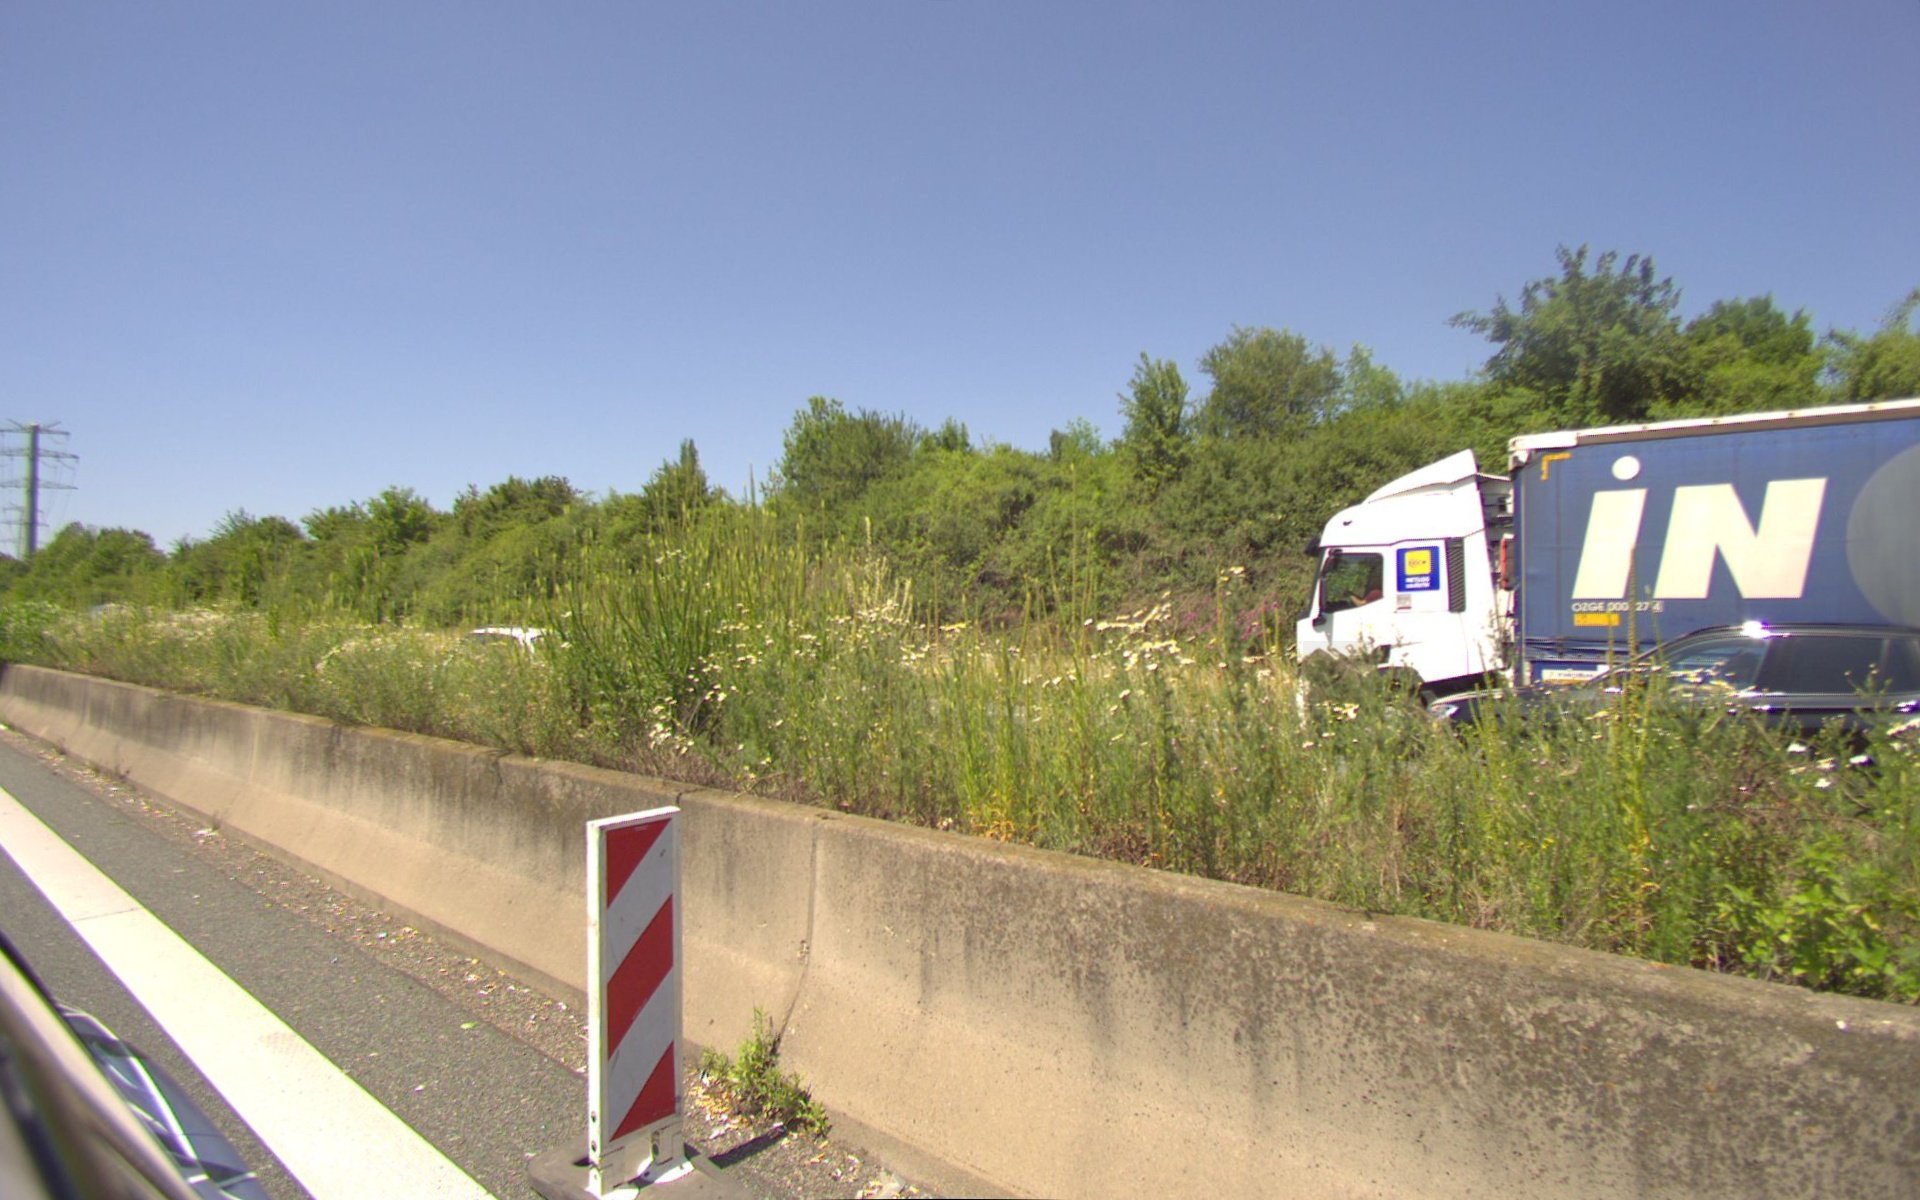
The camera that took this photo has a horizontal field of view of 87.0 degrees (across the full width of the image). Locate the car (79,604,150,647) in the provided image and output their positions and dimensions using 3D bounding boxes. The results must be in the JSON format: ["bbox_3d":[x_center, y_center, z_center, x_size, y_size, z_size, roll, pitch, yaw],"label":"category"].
[{"bbox_3d":[-43.651,1.323,52.203,5.226,2.107,1.973,-1,-2,41],"label":"car"}]

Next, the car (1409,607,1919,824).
[{"bbox_3d":[6.254,0.809,8.230,4.465,1.454,1.663,-1,0,41],"label":"car"}]

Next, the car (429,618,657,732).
[{"bbox_3d":[-6.344,1.025,15.192,3.998,1.454,1.567,-1,0,41],"label":"car"}]

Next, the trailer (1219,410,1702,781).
[{"bbox_3d":[6.760,0.054,14.005,5.430,4.088,2.930,-1,-4,40],"label":"trailer"}]

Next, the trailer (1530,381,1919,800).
[{"bbox_3d":[12.884,-0.081,8.731,13.586,4.088,2.930,-1,-4,41],"label":"trailer"}]
